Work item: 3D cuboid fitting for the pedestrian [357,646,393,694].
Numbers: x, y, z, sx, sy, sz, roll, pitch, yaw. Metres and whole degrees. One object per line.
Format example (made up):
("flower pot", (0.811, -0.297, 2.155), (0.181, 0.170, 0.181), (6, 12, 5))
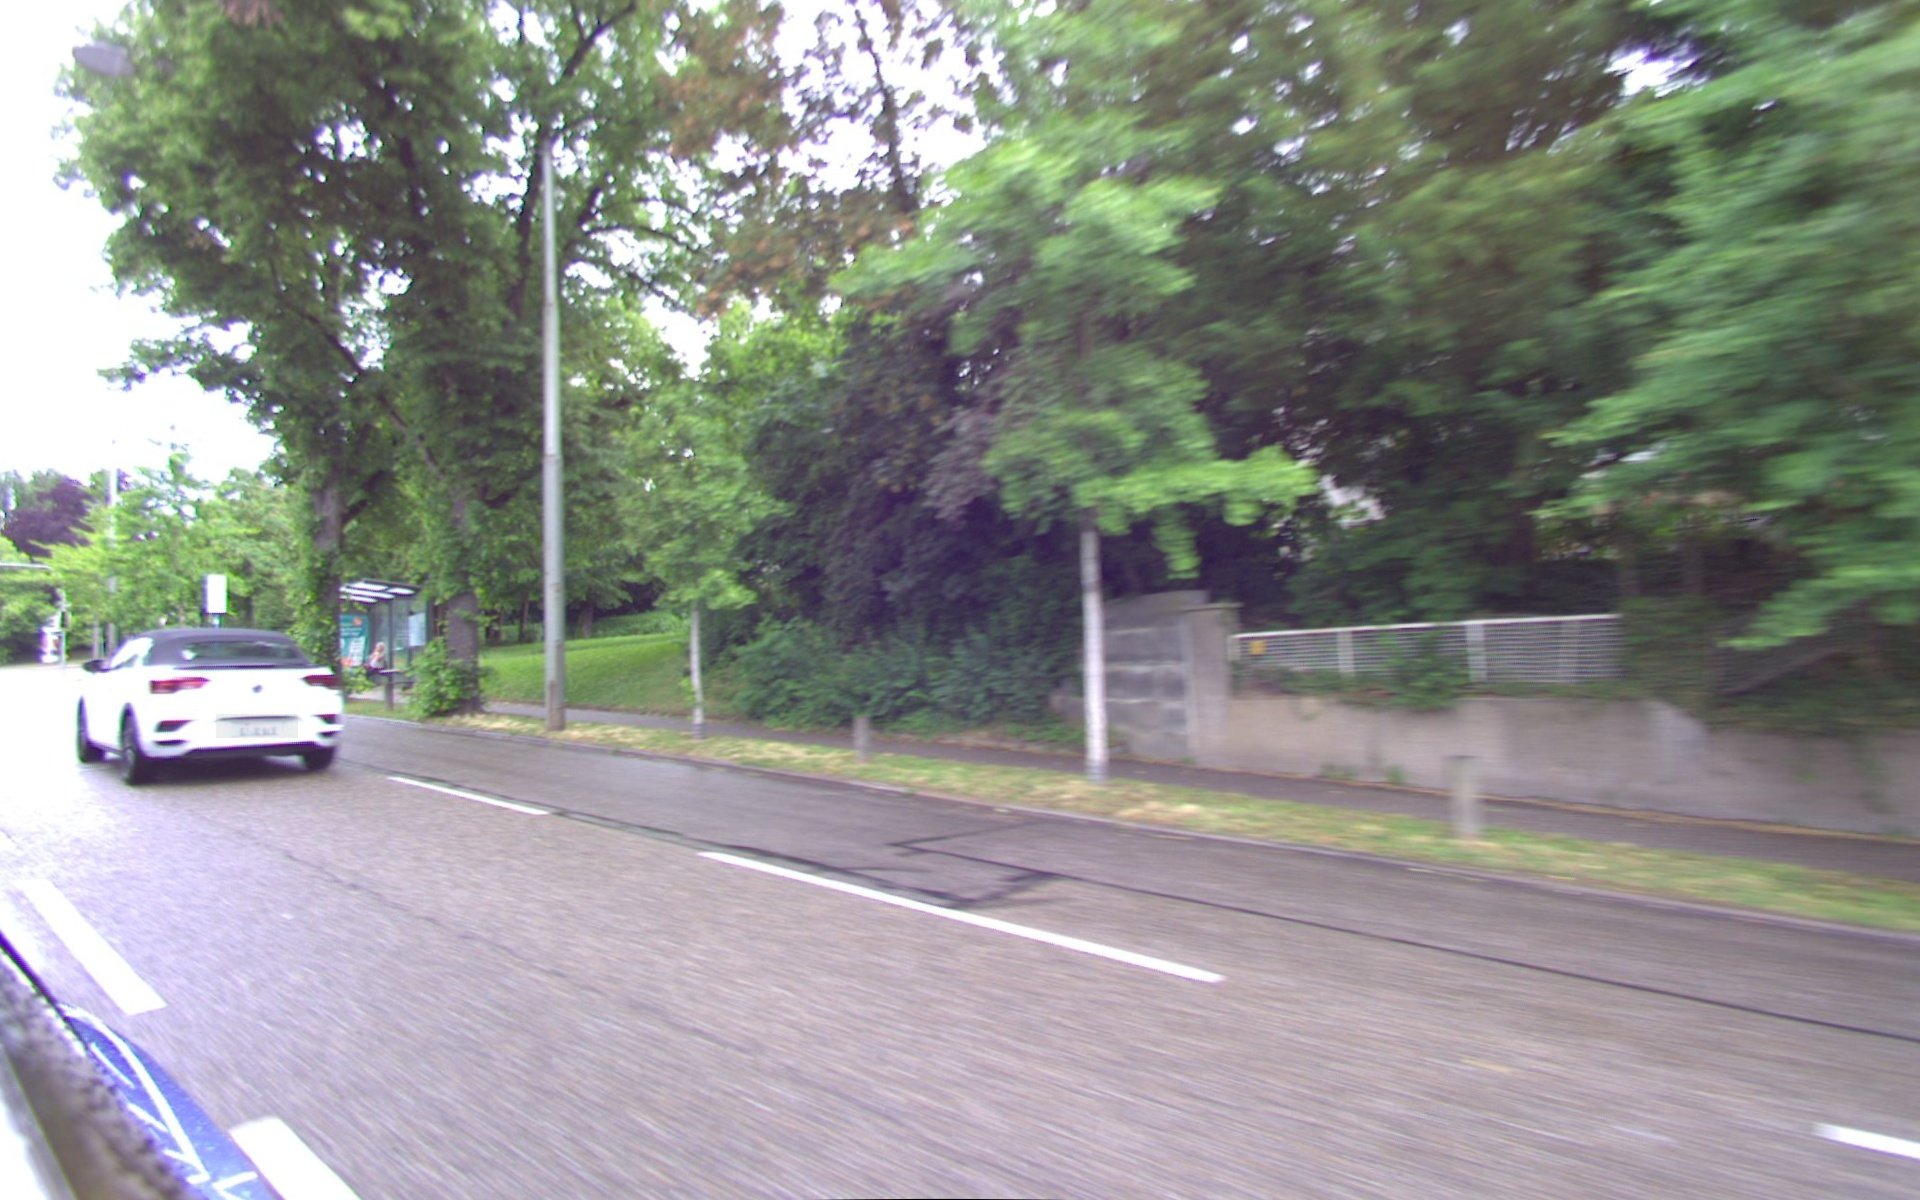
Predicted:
("pedestrian", (-16.910, 2.014, 29.262), (0.766, 1.311, 0.745), (-1, -1, -41))

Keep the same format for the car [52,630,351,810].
("car", (-8.335, 1.121, 10.991), (4.091, 1.521, 1.775), (-1, -1, 41))
